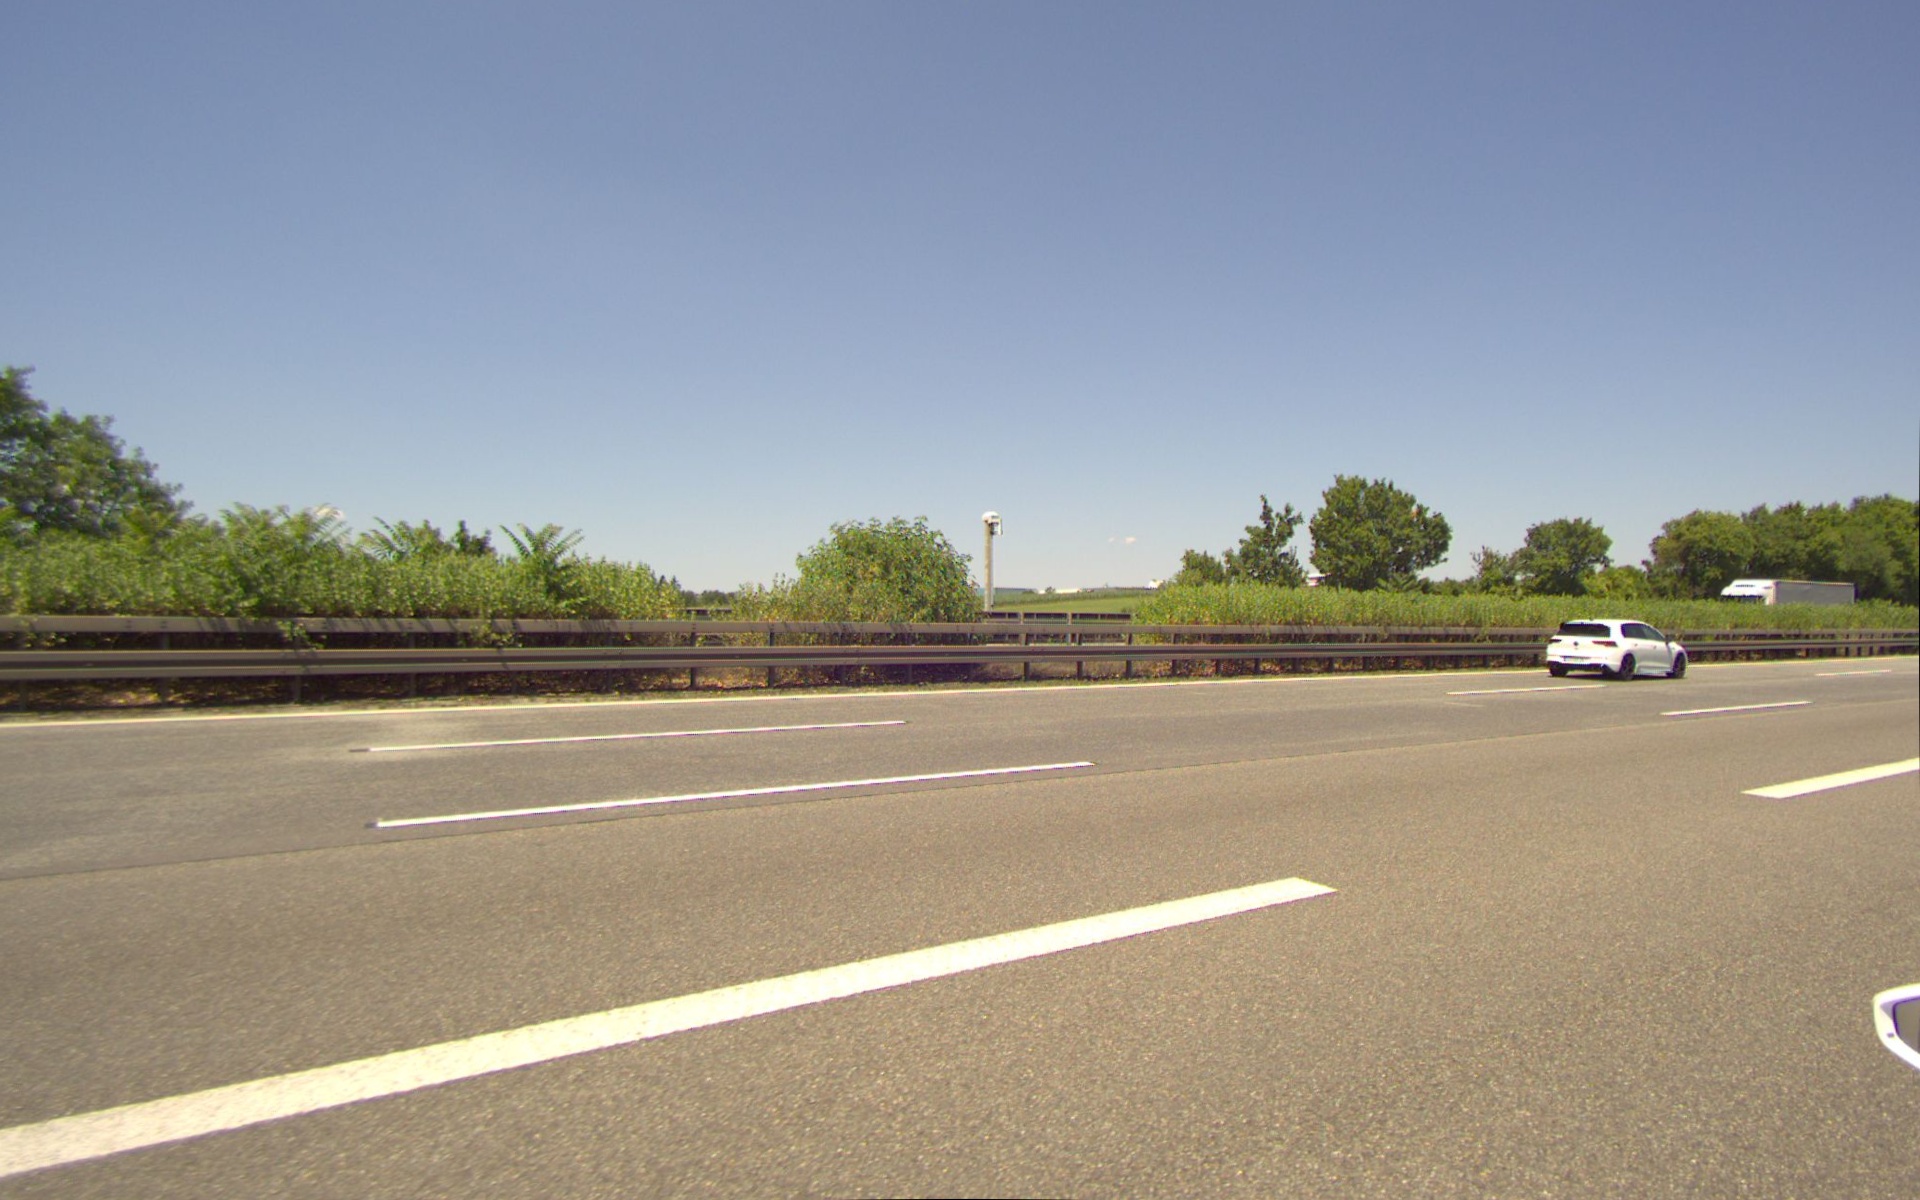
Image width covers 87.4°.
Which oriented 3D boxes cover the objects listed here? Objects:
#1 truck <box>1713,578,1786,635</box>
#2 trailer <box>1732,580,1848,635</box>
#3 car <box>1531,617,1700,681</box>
[{"bbox_3d":[57.470,0.491,73.116,5.108,4.000,2.525,1,0,-31],"label":"truck"},{"bbox_3d":[63.653,0.634,76.870,13.564,4.000,2.525,1,0,-31],"label":"trailer"},{"bbox_3d":[16.524,1.179,25.263,4.615,1.460,1.773,1,0,-31],"label":"car"}]
